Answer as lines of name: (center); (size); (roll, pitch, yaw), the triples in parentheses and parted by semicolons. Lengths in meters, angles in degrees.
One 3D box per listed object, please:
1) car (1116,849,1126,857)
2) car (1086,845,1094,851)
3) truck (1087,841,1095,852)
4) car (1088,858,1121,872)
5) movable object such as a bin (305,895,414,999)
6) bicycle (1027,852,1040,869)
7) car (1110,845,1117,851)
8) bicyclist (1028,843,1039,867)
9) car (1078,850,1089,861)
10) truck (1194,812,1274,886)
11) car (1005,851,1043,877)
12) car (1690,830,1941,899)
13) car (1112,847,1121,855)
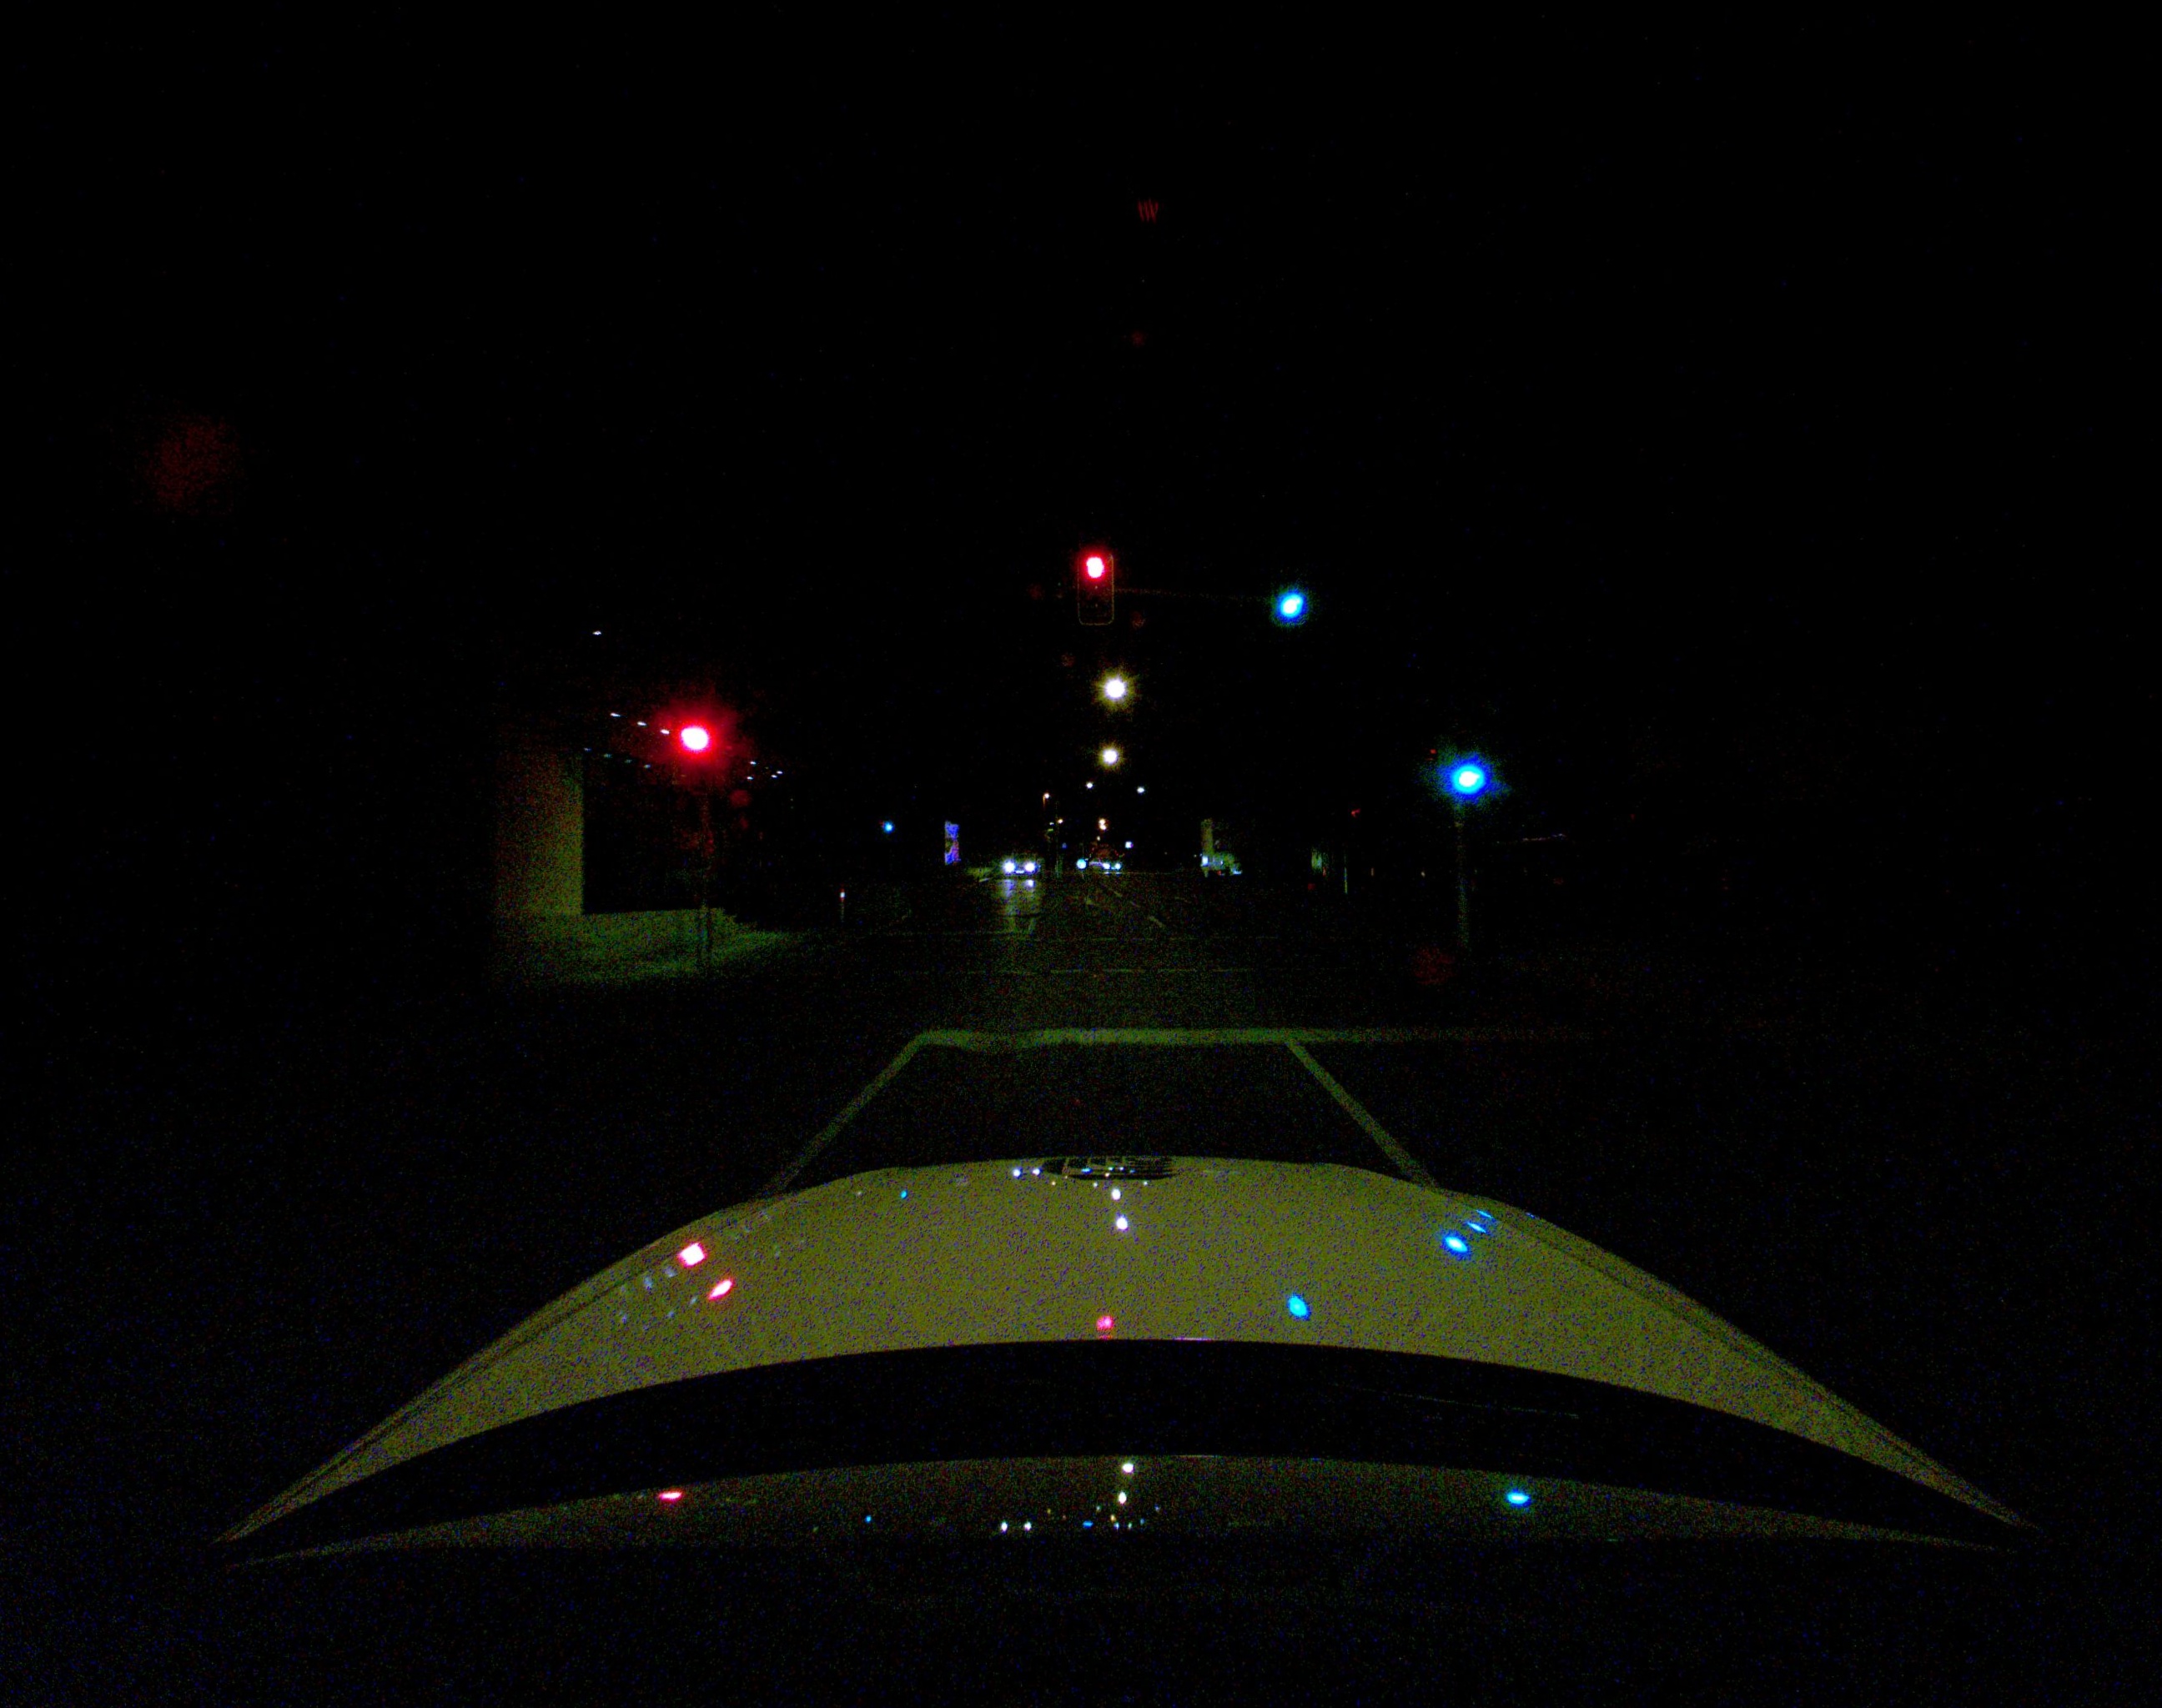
car: (7.187, -0.239, 146.537); (1.628, 1.451, 3.486); (0, 0, 2)
car: (2.082, -1.431, 190.470); (1.809, 1.491, 3.999); (0, 0, 0)
truck: (2.692, -1.885, 212.923); (2.080, 2.848, 5.830); (0, 0, 0)
car: (2.466, 1.113, 85.712); (1.923, 1.388, 4.552); (0, 0, -20)
movable object such as a bin: (-7.852, 0.992, 8.882); (0.633, 1.049, 0.657); (-1, -1, 19)
bicycle: (-3.348, 0.474, 57.455); (0.693, 1.149, 1.951); (-1, 0, 2)
car: (7.782, -1.399, 194.691); (1.628, 1.451, 3.486); (0, 0, 2)
bicyclist: (-3.355, 0.082, 57.416); (0.688, 1.637, 0.896); (-1, -1, 1)
car: (0.436, 0.264, 137.894); (1.808, 1.684, 4.002); (-1, 0, 2)
truck: (6.923, -0.227, 37.621); (2.739, 3.110, 6.262); (0, 0, 2)
car: (-3.420, 0.582, 49.492); (1.850, 1.534, 4.029); (0, 0, 1)
car: (17.356, 0.259, 19.441); (4.107, 1.280, 1.770); (-4, -1, 8)
car: (7.099, -0.628, 162.468); (1.628, 1.451, 3.486); (0, 0, 2)
